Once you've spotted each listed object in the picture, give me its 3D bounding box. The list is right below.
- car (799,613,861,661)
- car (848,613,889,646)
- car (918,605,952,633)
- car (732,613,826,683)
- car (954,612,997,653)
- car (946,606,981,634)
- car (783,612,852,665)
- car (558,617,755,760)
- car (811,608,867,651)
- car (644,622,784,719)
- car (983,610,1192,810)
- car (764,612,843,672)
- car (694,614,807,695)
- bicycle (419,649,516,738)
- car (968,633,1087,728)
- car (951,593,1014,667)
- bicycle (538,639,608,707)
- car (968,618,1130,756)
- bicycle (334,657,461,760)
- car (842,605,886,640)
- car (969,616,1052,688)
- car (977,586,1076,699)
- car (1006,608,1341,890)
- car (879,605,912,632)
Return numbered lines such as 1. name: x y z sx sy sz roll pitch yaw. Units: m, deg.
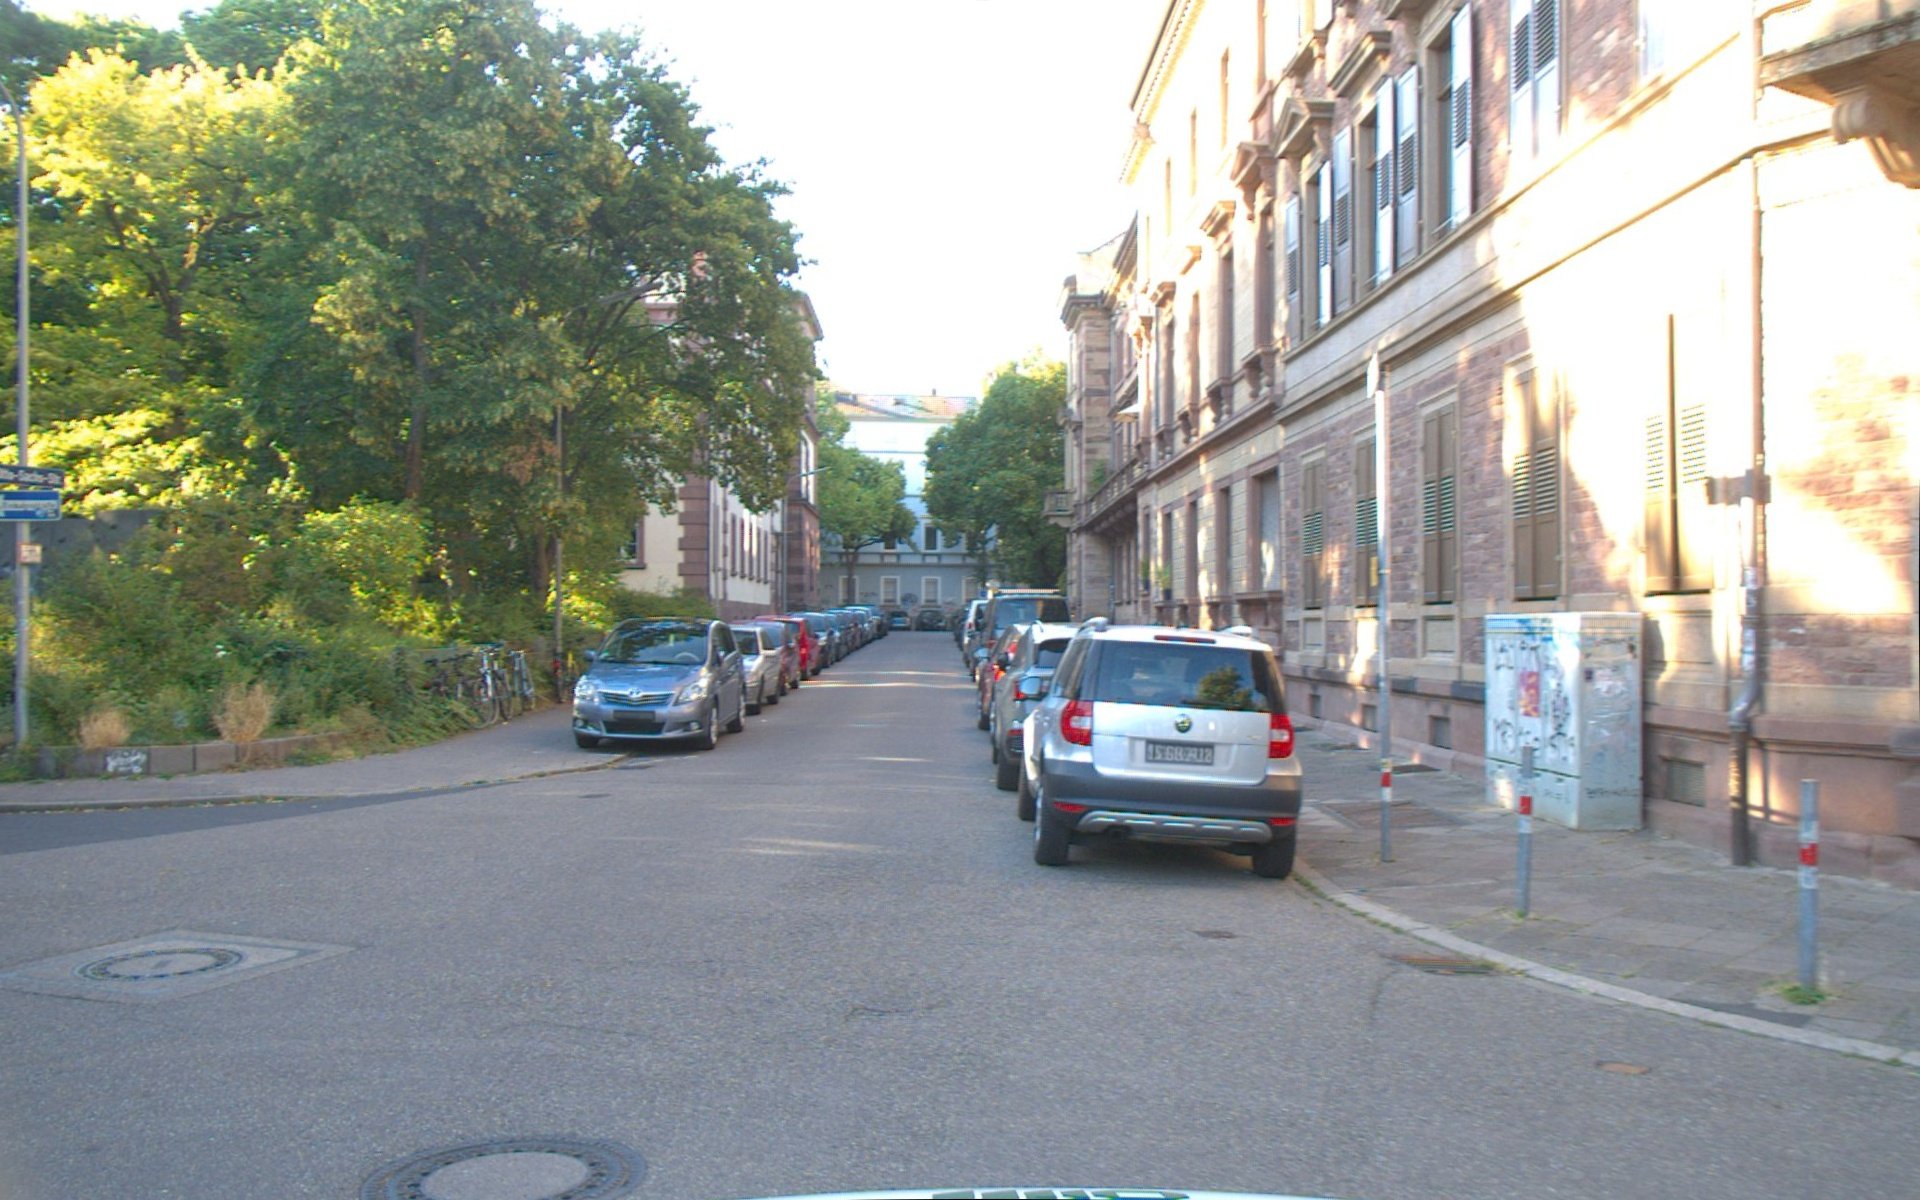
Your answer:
1. car: -4.507 1.270 57.746 1.789 1.526 3.930 3 -1 0
2. car: -4.585 1.466 83.608 1.789 1.526 3.930 3 -1 0
3. car: -1.709 1.325 112.122 1.955 1.714 3.994 1 -3 -6
4. car: -4.380 1.144 40.594 1.789 1.526 3.930 3 -1 0
5. car: 0.653 1.391 72.160 1.761 1.668 3.954 3 -1 -1
6. car: 0.233 1.393 112.822 1.955 1.714 3.994 1 -3 -6
7. car: -4.492 1.210 52.673 1.789 1.526 3.930 3 -1 0
8. car: -3.963 1.103 22.324 1.789 1.643 4.291 3 -1 0
9. car: -4.626 1.131 63.716 1.789 1.526 3.930 3 -1 0
10. car: -4.212 1.176 28.910 1.789 1.472 3.930 3 -1 0
11. car: 1.217 1.045 17.609 1.789 1.753 4.543 3 -1 0
12. car: -4.413 1.165 47.119 1.789 1.526 3.930 3 -1 0
13. car: -4.297 1.090 34.481 1.789 1.504 3.930 3 -1 0
14. bicycle: -6.771 1.255 22.872 0.584 1.121 2.627 0 -1 0
15. car: 1.079 1.310 28.050 1.761 1.369 3.954 3 -1 -1
16. car: 0.654 0.898 50.840 1.761 2.109 3.954 3 -1 -1
17. bicycle: -6.844 1.267 29.388 0.584 1.121 2.627 0 -1 1
18. car: 1.121 1.105 22.590 1.762 1.642 3.952 3 -1 -3
19. bicycle: -6.800 1.279 20.152 0.584 1.121 2.627 0 -1 2
20. car: -4.518 1.046 78.514 1.789 1.526 3.930 3 -1 0
21. car: 1.159 1.192 39.465 1.761 1.550 3.954 3 -1 -1
22. car: 1.315 0.844 33.990 1.761 2.109 3.954 3 -1 -1
23. car: 1.418 0.986 12.587 1.877 1.686 4.185 3 -1 -1
24. car: -4.383 1.262 111.812 1.955 1.714 3.994 1 -3 -6
